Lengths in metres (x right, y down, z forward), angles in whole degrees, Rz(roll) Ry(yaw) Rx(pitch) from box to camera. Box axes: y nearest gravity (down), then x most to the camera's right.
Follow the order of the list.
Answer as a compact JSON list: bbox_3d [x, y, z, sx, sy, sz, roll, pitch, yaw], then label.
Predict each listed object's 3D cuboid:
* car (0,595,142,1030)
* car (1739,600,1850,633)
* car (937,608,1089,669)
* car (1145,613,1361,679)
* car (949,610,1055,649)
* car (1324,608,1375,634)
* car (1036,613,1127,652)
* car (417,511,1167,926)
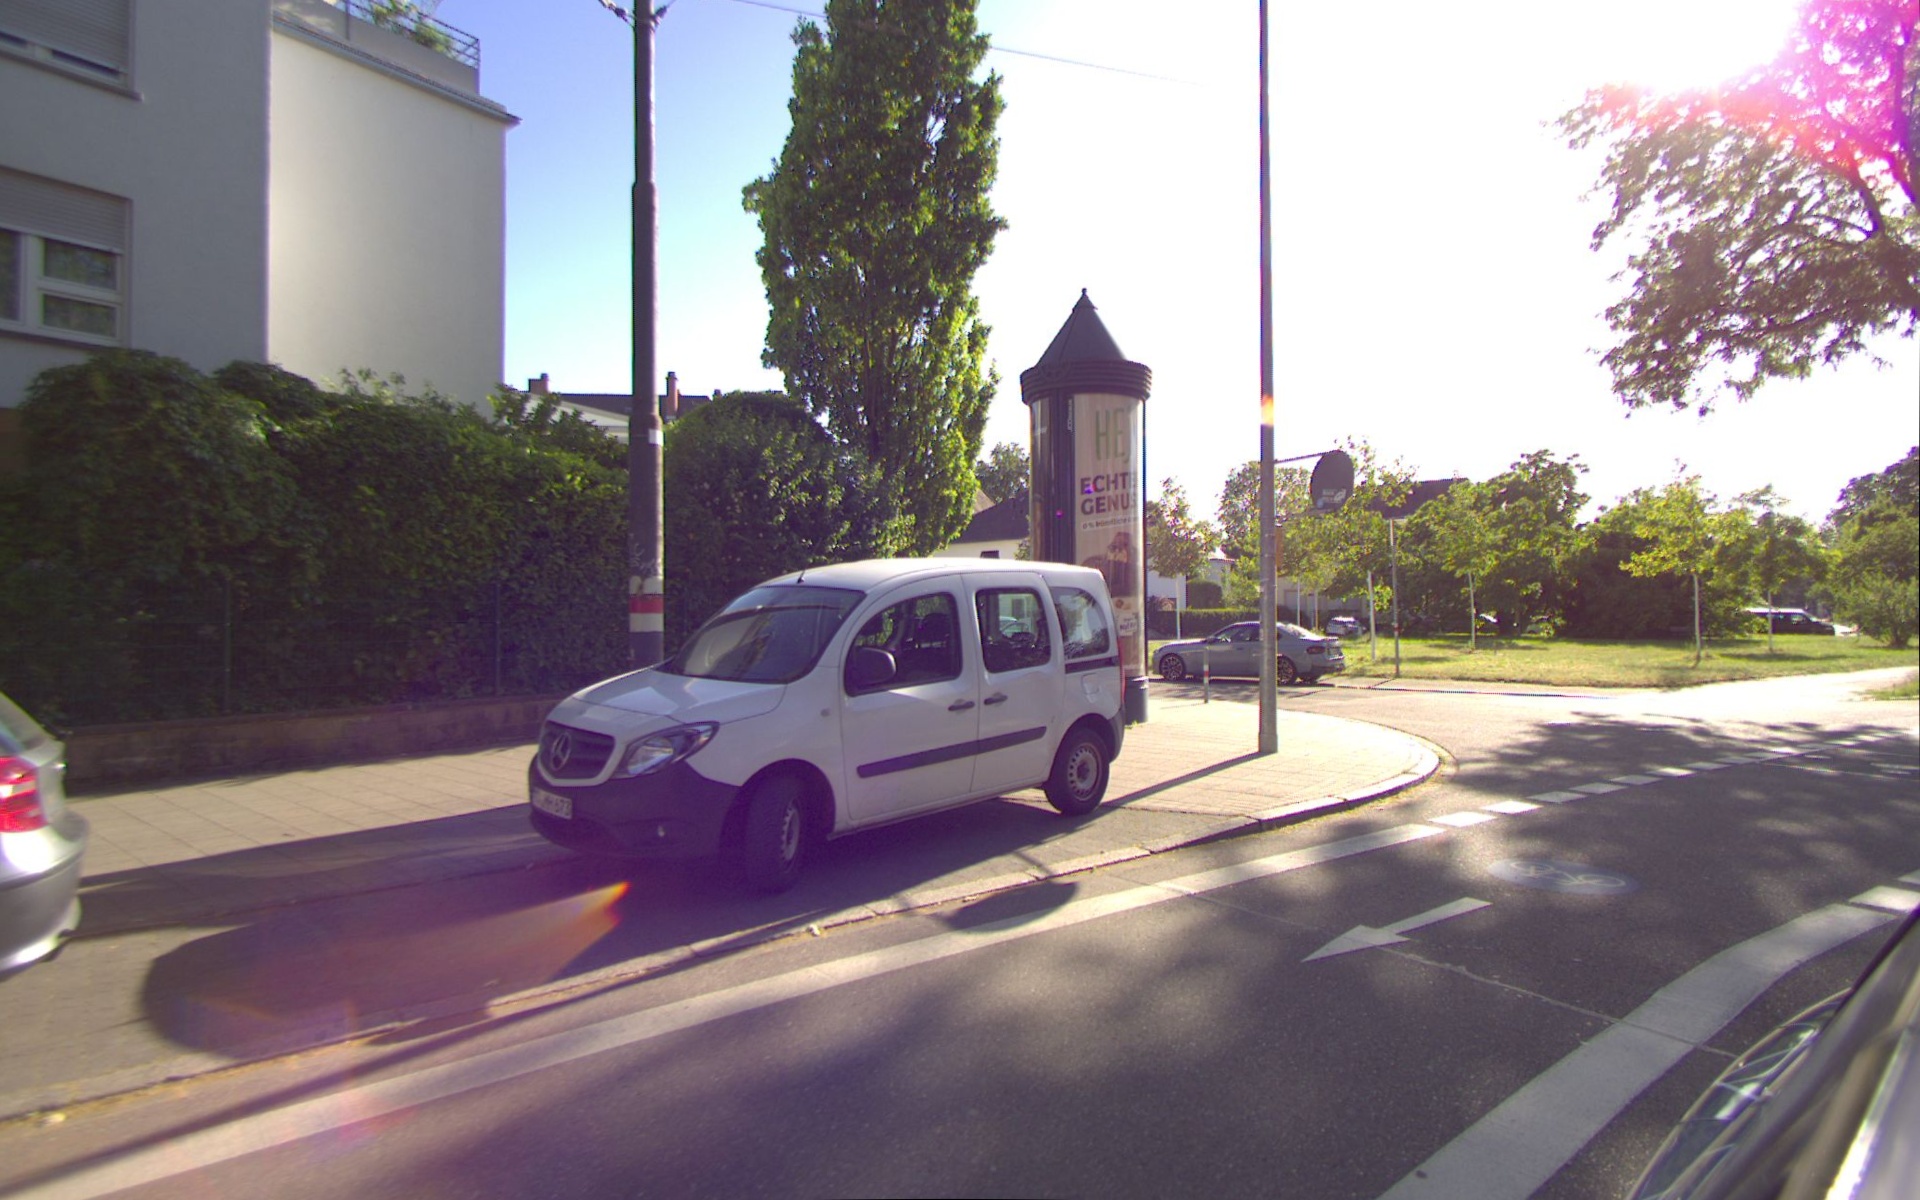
[{"bbox_3d":[-5.101,0.725,2.749,1.993,1.441,4.265,-1,0,43],"label":"car"},{"bbox_3d":[51.437,1.024,62.477,5.190,1.909,2.069,-2,-2,41],"label":"car"},{"bbox_3d":[1.453,1.054,28.936,1.809,1.529,4.285,-3,1,-42],"label":"car"},{"bbox_3d":[6.793,1.017,23.770,4.506,1.387,1.939,-1,-1,42],"label":"car"},{"bbox_3d":[1.818,1.181,42.258,2.055,1.489,4.687,-1,-1,40],"label":"car"},{"bbox_3d":[28.236,1.495,73.282,3.934,1.819,1.994,0,-1,-45],"label":"car"},{"bbox_3d":[5.651,1.462,46.636,1.989,1.671,4.701,-3,-2,38],"label":"car"},{"bbox_3d":[-0.741,0.522,6.733,2.022,1.769,4.677,-1,-1,43],"label":"car"}]
